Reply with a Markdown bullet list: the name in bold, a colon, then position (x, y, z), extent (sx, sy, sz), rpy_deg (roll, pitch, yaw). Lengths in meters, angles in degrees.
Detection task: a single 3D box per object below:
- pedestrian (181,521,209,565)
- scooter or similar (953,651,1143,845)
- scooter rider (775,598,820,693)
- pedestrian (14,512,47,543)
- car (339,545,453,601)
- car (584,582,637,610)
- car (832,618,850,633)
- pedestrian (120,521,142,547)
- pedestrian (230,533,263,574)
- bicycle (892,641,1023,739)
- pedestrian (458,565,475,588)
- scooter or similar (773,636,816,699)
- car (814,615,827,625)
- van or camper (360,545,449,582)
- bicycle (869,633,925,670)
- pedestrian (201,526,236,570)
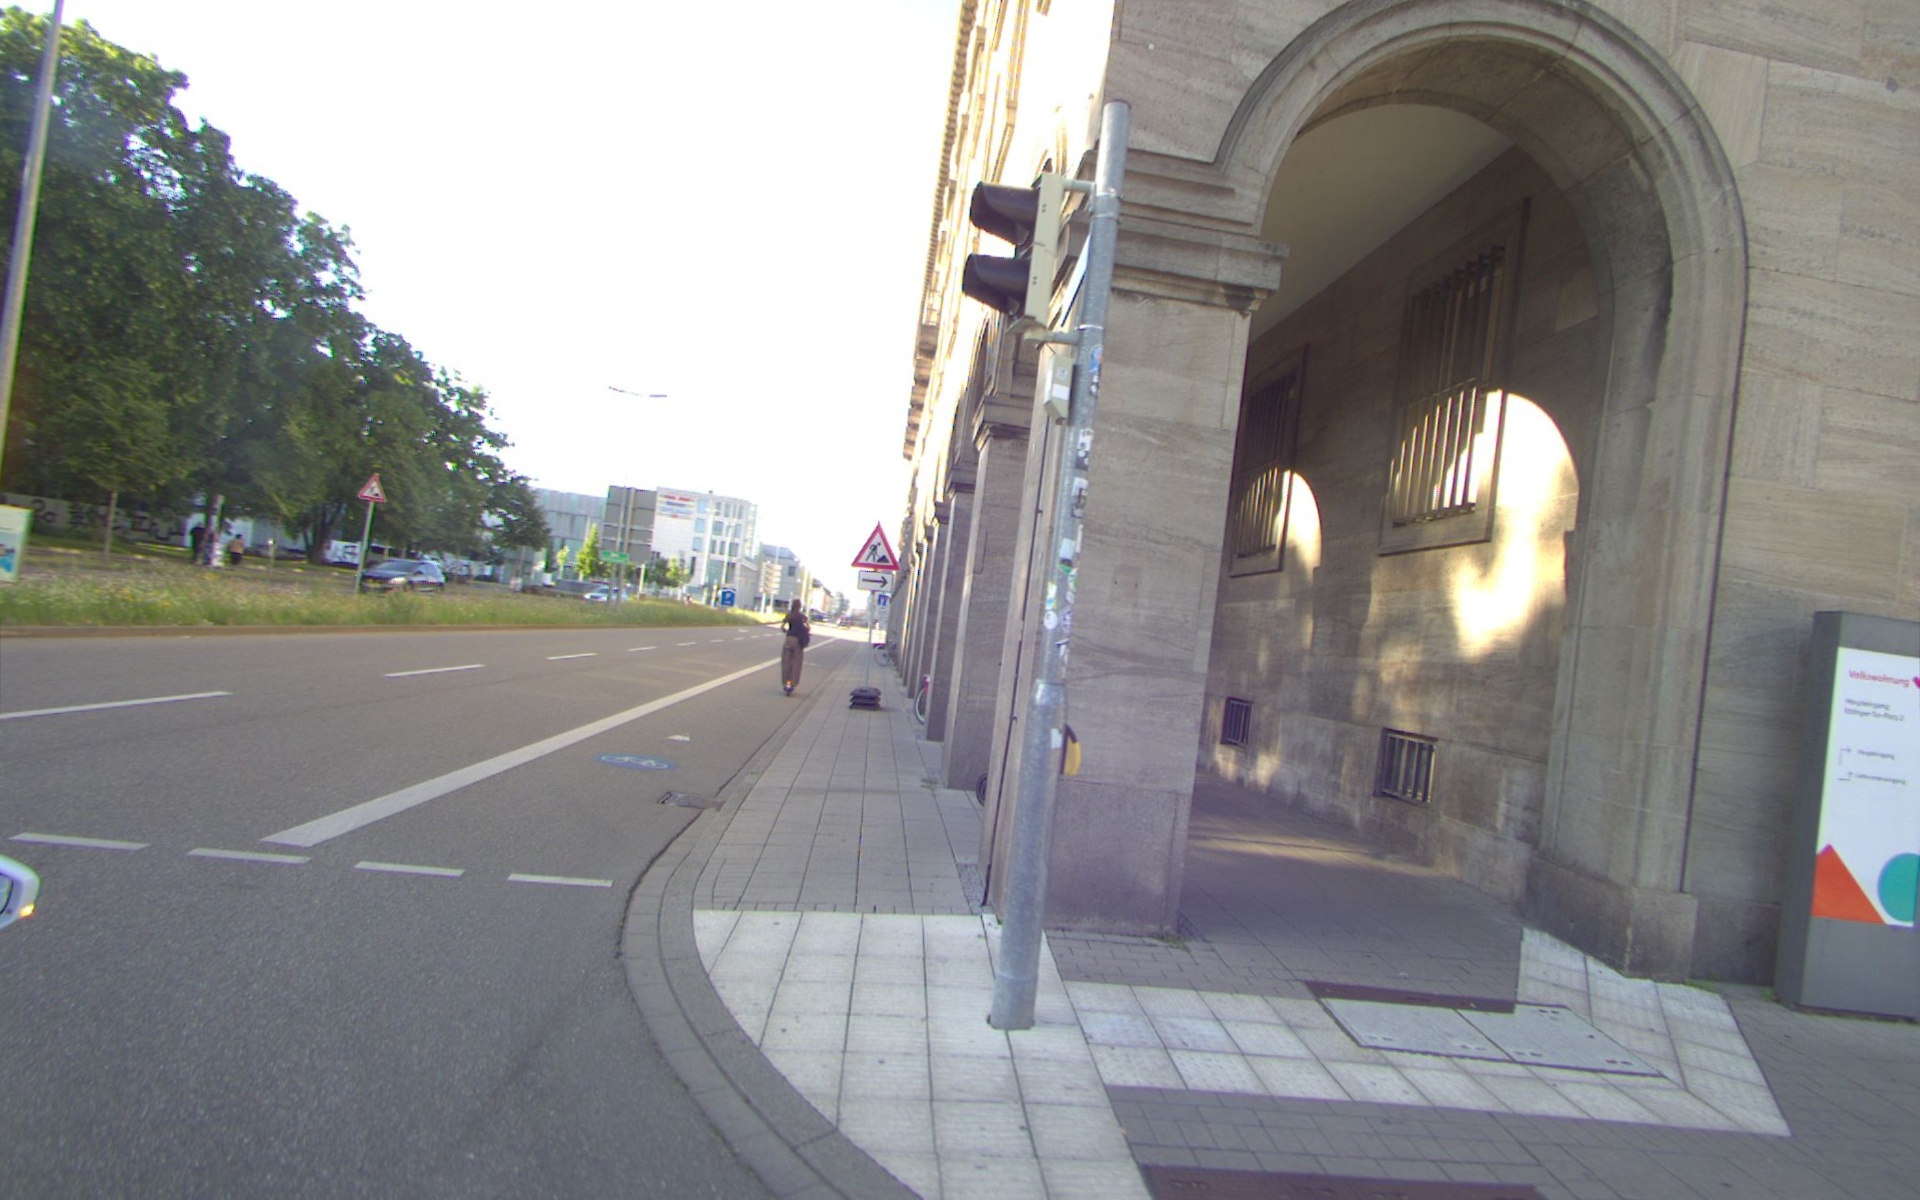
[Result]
- **pedestrian**: position (-32.940, -2.441, 43.324), extent (0.516, 1.761, 0.655), rpy_deg (7, -1, -1)
- **scooter or similar**: position (0.628, 1.052, 7.496), extent (0.636, 1.238, 1.251), rpy_deg (5, -1, -39)
- **scooter rider**: position (-2.975, 0.824, 18.430), extent (0.553, 1.651, 0.650), rpy_deg (7, -1, -3)
- **pedestrian**: position (-53.511, -4.161, 57.923), extent (0.890, 1.558, 0.893), rpy_deg (7, -1, -11)
- **car**: position (-20.604, -0.932, 36.971), extent (1.964, 1.582, 4.060), rpy_deg (7, -2, -4)
- **car**: position (-24.313, -0.258, 70.120), extent (1.904, 1.544, 4.591), rpy_deg (7, -2, 1)
- **car**: position (-15.024, 3.237, 126.606), extent (1.753, 1.582, 3.783), rpy_deg (8, -2, -11)
- **pedestrian**: position (-58.076, -4.616, 70.486), extent (0.713, 1.660, 0.745), rpy_deg (7, -1, 1)
- **pedestrian**: position (-31.043, -2.006, 43.769), extent (0.731, 1.660, 0.726), rpy_deg (7, -1, -1)
- **bicycle**: position (-0.050, 1.243, 14.115), extent (1.687, 1.147, 0.662), rpy_deg (5, -1, 36)
- **pedestrian**: position (-36.125, -1.720, 73.657), extent (0.603, 1.546, 0.942), rpy_deg (7, -1, 1)
- **scooter or similar**: position (-2.992, 1.203, 18.283), extent (0.547, 1.043, 1.117), rpy_deg (7, -1, -3)
- **car**: position (-27.821, 4.000, 200.563), extent (1.965, 1.763, 4.643), rpy_deg (8, -1, -4)
- **van or camper**: position (-44.085, -2.879, 79.985), extent (5.579, 2.036, 2.260), rpy_deg (7, -3, -3)
- **bicycle**: position (-2.113, 1.738, 33.748), extent (1.688, 1.063, 0.526), rpy_deg (6, -1, -19)
- **pedestrian**: position (-31.947, -2.233, 43.356), extent (0.759, 1.761, 0.761), rpy_deg (7, -1, -1)
